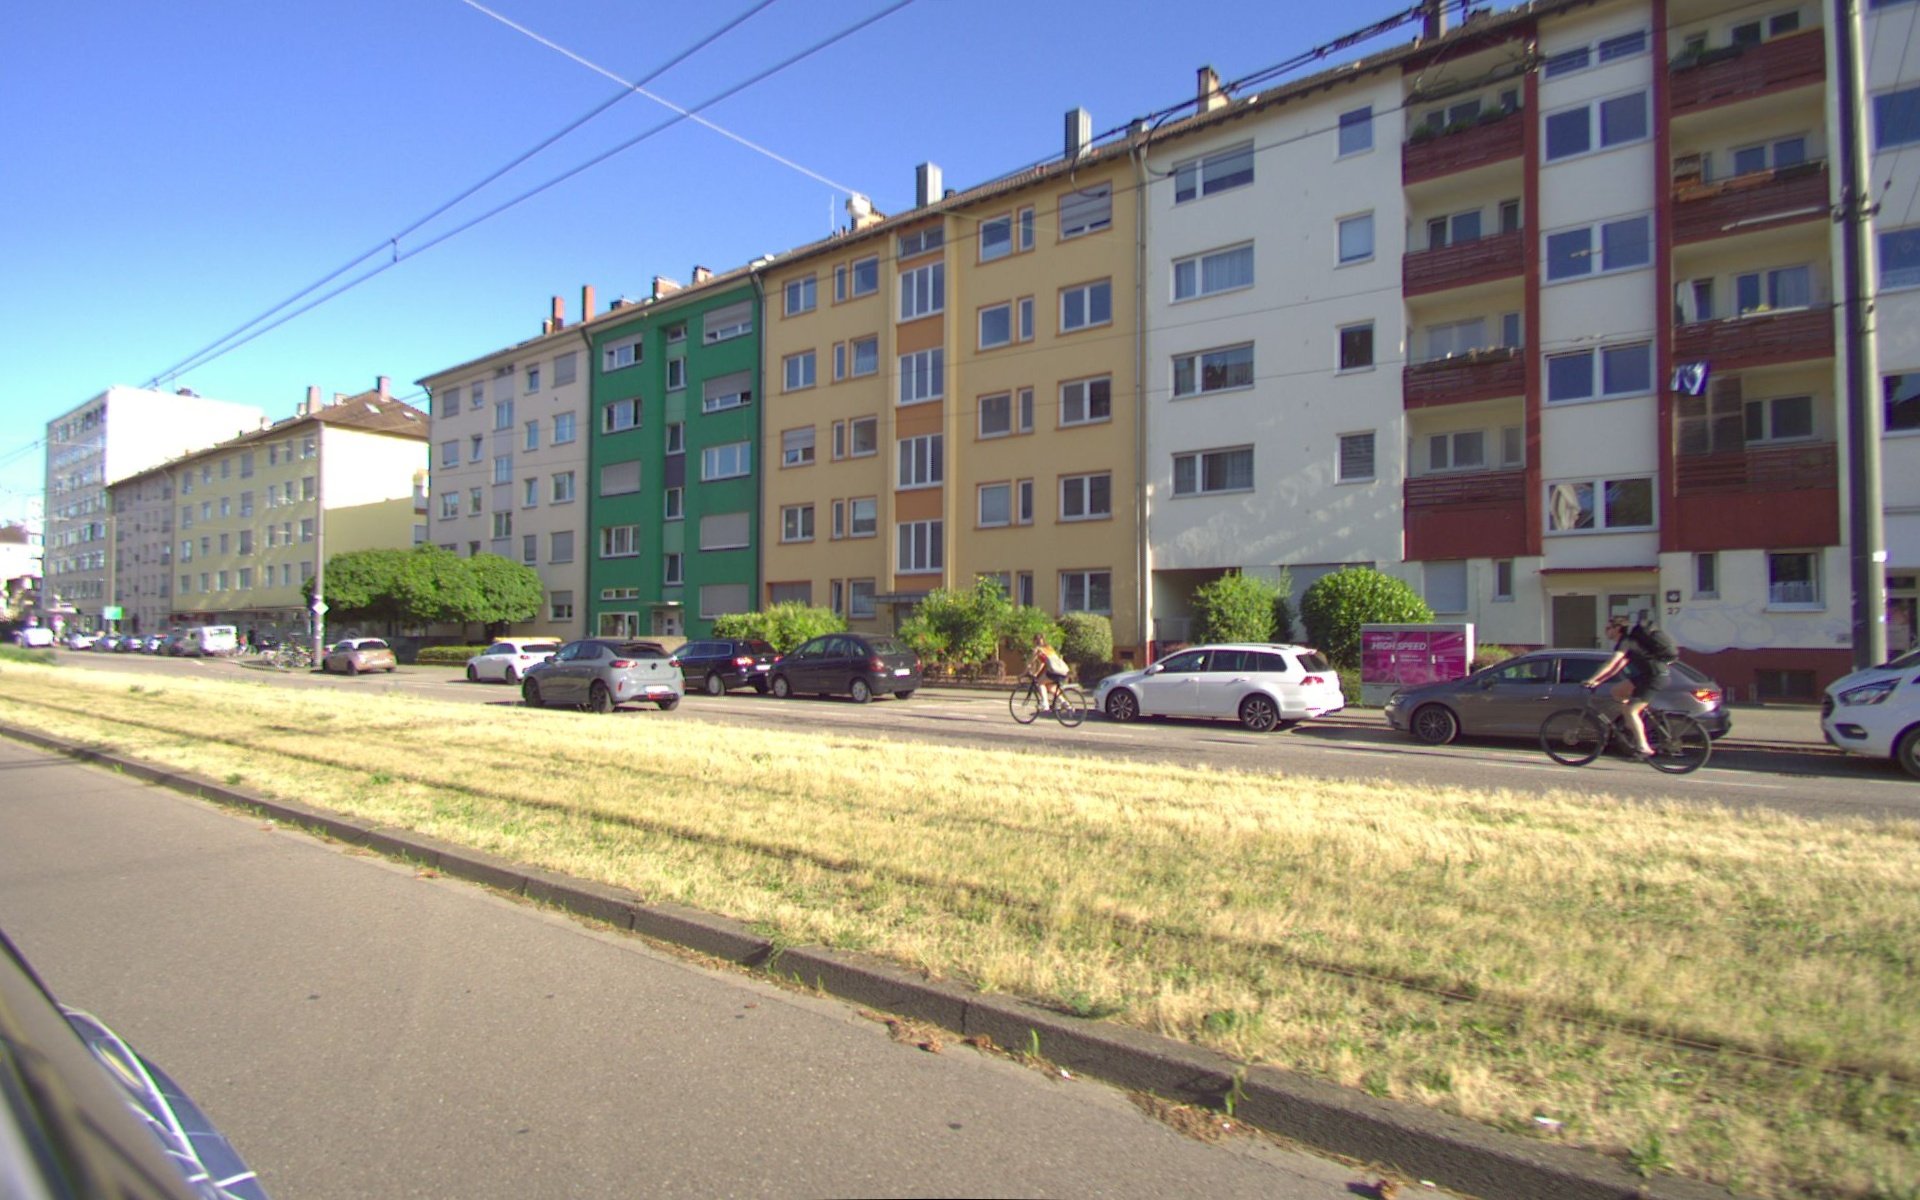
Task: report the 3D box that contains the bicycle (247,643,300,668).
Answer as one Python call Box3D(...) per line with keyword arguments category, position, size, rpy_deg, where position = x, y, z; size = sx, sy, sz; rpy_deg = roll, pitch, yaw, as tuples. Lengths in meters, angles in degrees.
Box3D(category="bicycle", position=(-33.533, 2.714, 49.454), size=(0.616, 1.101, 2.025), rpy_deg=(-2, -1, 43))

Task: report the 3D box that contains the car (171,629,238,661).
Box3D(category="car", position=(-50.629, 3.023, 67.760), size=(5.487, 1.964, 1.977), rpy_deg=(-2, -1, 35))

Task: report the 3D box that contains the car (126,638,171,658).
Box3D(category="car", position=(-59.891, 3.524, 74.650), size=(3.762, 1.395, 1.766), rpy_deg=(-2, -1, 38))

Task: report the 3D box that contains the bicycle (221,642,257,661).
Box3D(category="bicycle", position=(-45.649, 3.272, 64.100), size=(0.390, 1.114, 1.802), rpy_deg=(-2, -1, 38))

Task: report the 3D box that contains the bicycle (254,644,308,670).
Box3D(category="bicycle", position=(-32.542, 2.720, 48.517), size=(0.616, 1.101, 2.025), rpy_deg=(-2, -1, 43))

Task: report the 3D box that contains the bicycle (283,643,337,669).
Box3D(category="bicycle", position=(-30.200, 2.591, 47.051), size=(2.019, 1.101, 0.617), rpy_deg=(-1, -1, -25))

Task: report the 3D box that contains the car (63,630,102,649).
Box3D(category="car", position=(-75.101, 3.394, 86.598), size=(4.193, 1.497, 1.742), rpy_deg=(-2, -1, 38))

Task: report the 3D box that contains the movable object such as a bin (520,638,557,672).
Box3D(category="movable object such as a bin", position=(-18.182, 2.356, 43.670), size=(1.038, 1.378, 1.135), rpy_deg=(-2, 0, 40))

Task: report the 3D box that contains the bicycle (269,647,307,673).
Box3D(category="bicycle", position=(-30.132, 2.687, 45.363), size=(1.926, 1.101, 0.506), rpy_deg=(-2, -1, 27))

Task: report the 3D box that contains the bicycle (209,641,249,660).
Box3D(category="bicycle", position=(-47.160, 3.235, 65.303), size=(0.472, 1.114, 2.078), rpy_deg=(-2, -1, 38))

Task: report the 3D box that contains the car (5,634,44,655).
Box3D(category="car", position=(-92.535, 4.386, 100.056), size=(4.660, 1.912, 1.976), rpy_deg=(-2, -1, 36))

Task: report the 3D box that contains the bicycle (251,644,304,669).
Box3D(category="bicycle", position=(-33.039, 2.724, 49.004), size=(0.616, 1.101, 2.025), rpy_deg=(-2, -1, 43))

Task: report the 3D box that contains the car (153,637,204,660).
Box3D(category="car", position=(-55.140, 3.396, 71.377), size=(4.589, 1.485, 1.766), rpy_deg=(-2, -1, 38))

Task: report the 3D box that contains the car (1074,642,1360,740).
Box3D(category="car", position=(4.597, 1.569, 18.447), size=(4.693, 1.503, 1.875), rpy_deg=(-2, -1, 36))

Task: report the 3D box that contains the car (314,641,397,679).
Box3D(category="car", position=(-25.135, 2.474, 42.022), size=(3.726, 1.453, 1.621), rpy_deg=(-2, -1, 36))

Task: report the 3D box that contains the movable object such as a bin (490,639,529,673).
Box3D(category="movable object such as a bin", position=(-18.997, 2.352, 42.678), size=(1.038, 1.378, 1.135), rpy_deg=(-2, 0, 40))

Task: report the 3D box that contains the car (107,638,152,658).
Box3D(category="car", position=(-64.057, 3.665, 78.059), size=(4.408, 1.431, 1.766), rpy_deg=(-2, -1, 38))

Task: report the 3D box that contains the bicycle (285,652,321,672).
Box3D(category="bicycle", position=(-29.847, 2.828, 45.943), size=(2.044, 0.872, 0.374), rpy_deg=(-2, -1, 27))

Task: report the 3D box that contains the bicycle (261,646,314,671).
Box3D(category="bicycle", position=(-31.965, 2.773, 48.111), size=(0.616, 1.101, 2.025), rpy_deg=(-2, -1, 43))

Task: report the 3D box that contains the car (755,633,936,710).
Box3D(category="car", position=(-2.823, 1.677, 24.583), size=(4.145, 1.620, 1.975), rpy_deg=(-2, -1, 38))

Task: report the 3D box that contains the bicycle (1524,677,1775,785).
Box3D(category="bicycle", position=(8.409, 1.554, 12.451), size=(2.471, 1.155, 0.761), rpy_deg=(-2, -5, 38))

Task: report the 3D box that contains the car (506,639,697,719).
Box3D(category="car", position=(-7.343, 1.561, 20.540), size=(4.212, 1.459, 1.678), rpy_deg=(-2, -4, 39))

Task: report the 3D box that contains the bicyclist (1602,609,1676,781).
Box3D(category="bicyclist", position=(8.380, 1.134, 12.487), size=(0.647, 2.029, 0.765), rpy_deg=(-2, -1, 38))

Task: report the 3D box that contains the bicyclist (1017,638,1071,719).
Box3D(category="bicyclist", position=(1.484, 1.368, 17.926), size=(0.647, 1.394, 0.765), rpy_deg=(-2, -4, 38))

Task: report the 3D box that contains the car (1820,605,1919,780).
Box3D(category="car", position=(13.456, 1.048, 11.581), size=(5.364, 2.036, 2.012), rpy_deg=(-2, -1, 39))

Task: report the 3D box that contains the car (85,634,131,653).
Box3D(category="car", position=(-68.406, 3.506, 81.220), size=(4.406, 1.395, 1.767), rpy_deg=(-2, -1, 36))

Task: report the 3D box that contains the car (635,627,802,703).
Box3D(category="car", position=(-6.641, 1.722, 27.609), size=(4.602, 1.852, 1.975), rpy_deg=(-2, -1, 38))

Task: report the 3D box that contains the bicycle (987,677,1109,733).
Box3D(category="bicycle", position=(1.539, 1.824, 17.868), size=(2.066, 0.886, 0.761), rpy_deg=(-2, -5, 38))

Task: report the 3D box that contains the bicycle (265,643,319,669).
Box3D(category="bicycle", position=(-31.458, 2.633, 47.656), size=(0.616, 1.101, 2.025), rpy_deg=(-2, -1, 43))

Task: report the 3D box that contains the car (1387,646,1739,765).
Box3D(category="car", position=(8.900, 1.473, 15.211), size=(4.316, 1.526, 1.679), rpy_deg=(-2, -2, 35))

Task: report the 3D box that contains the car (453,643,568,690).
Box3D(category="car", position=(-15.153, 2.198, 34.019), size=(4.370, 1.465, 1.712), rpy_deg=(-2, -2, 38))

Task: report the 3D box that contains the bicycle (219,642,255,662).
Box3D(category="bicycle", position=(-45.980, 3.300, 64.356), size=(0.390, 1.114, 1.802), rpy_deg=(-2, -1, 38))
